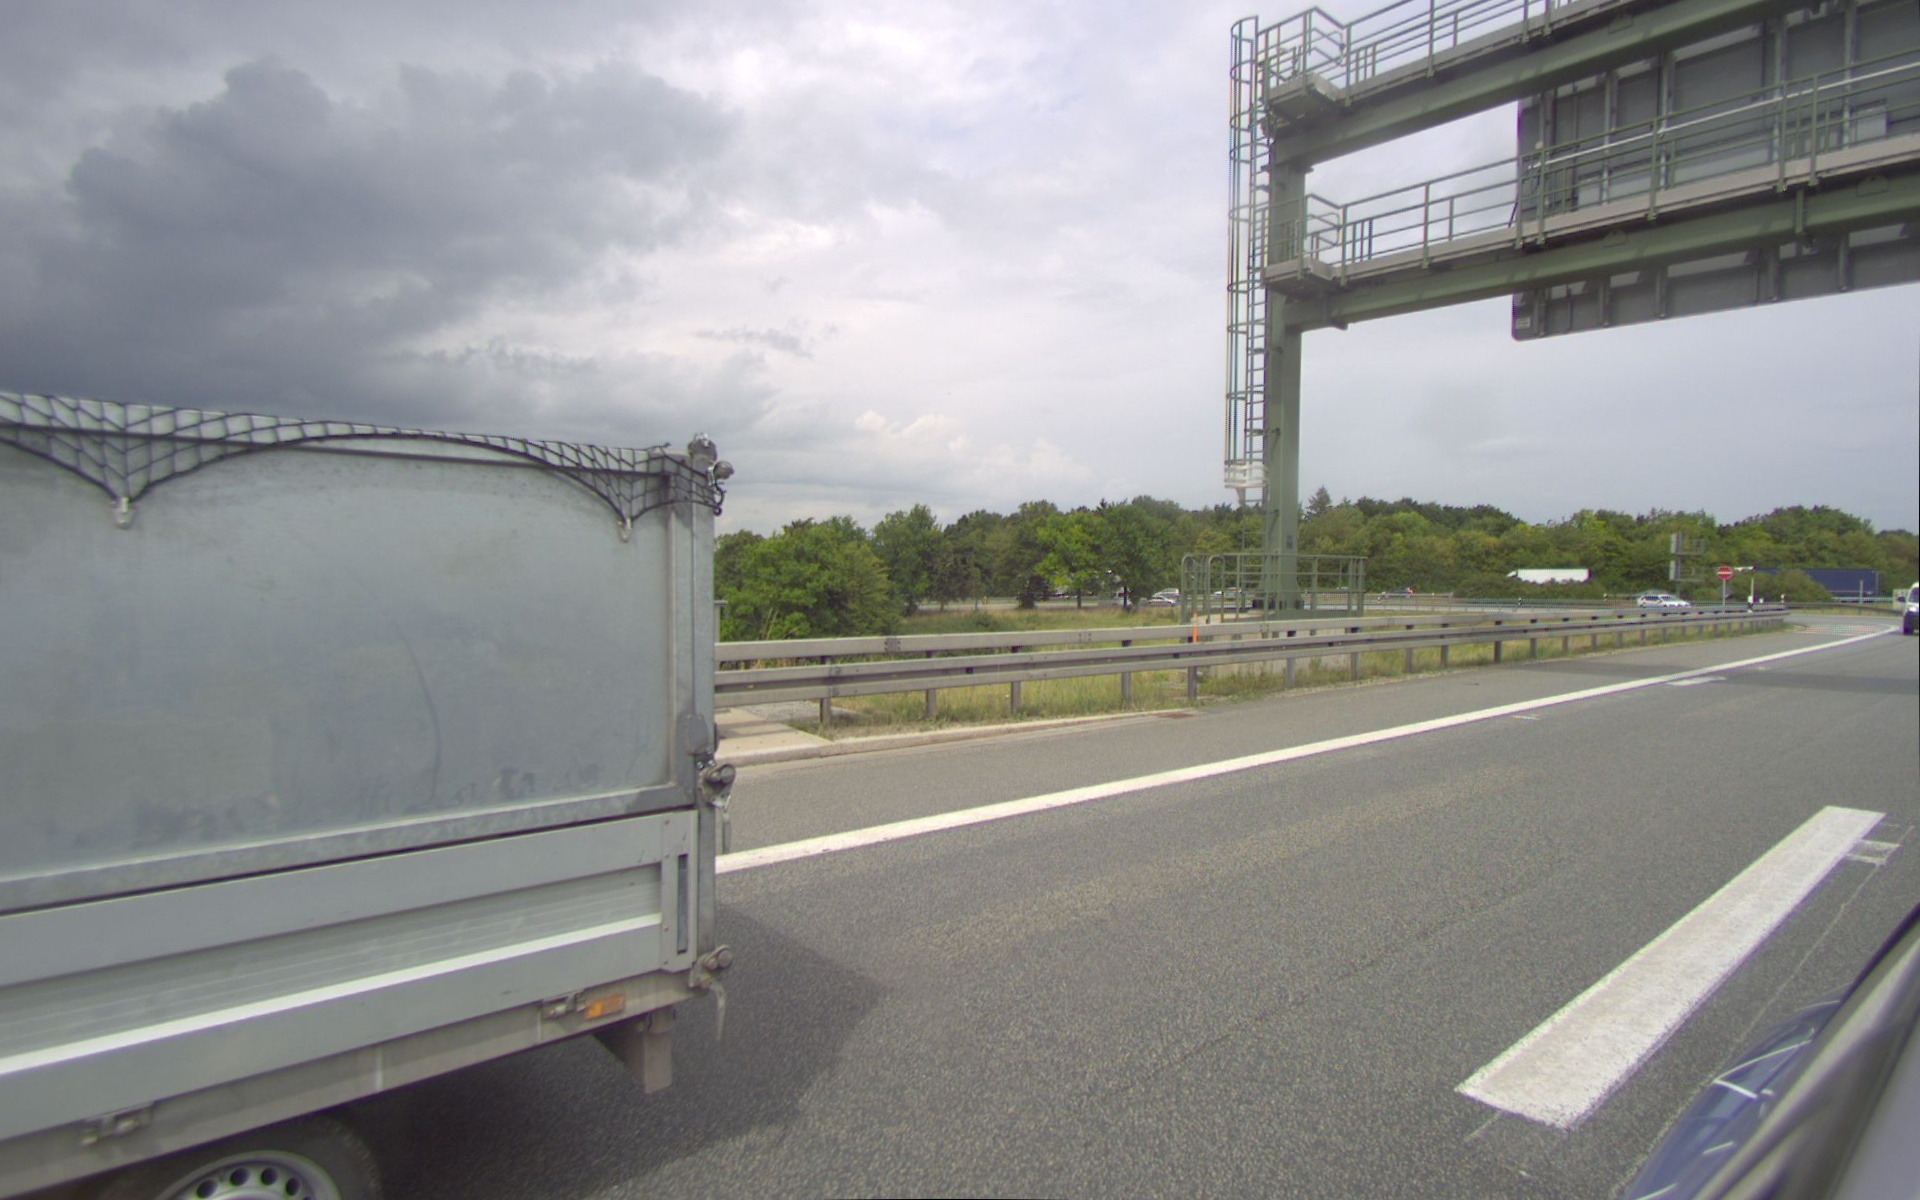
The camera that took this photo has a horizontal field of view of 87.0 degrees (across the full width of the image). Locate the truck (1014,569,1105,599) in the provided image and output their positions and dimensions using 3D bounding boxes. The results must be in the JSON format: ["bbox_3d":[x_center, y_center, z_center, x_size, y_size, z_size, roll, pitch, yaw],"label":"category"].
[{"bbox_3d":[14.334,-2.282,146.363,12.840,4.296,2.680,0,0,18],"label":"truck"}]

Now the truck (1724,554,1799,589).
[{"bbox_3d":[89.695,-3.124,113.366,5.824,3.850,2.897,0,0,6],"label":"truck"}]

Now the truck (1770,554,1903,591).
[{"bbox_3d":[97.339,-3.034,112.524,11.586,3.907,2.843,-1,0,6],"label":"truck"}]

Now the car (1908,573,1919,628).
[{"bbox_3d":[32.756,-0.032,33.349,3.931,1.767,1.860,-1,1,-42],"label":"car"}]

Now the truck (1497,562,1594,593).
[{"bbox_3d":[69.792,-2.666,120.914,9.775,3.446,2.671,0,0,26],"label":"truck"}]

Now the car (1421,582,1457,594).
[{"bbox_3d":[59.715,-1.496,126.265,3.964,1.418,1.543,0,0,29],"label":"car"}]

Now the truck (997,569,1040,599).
[{"bbox_3d":[8.585,-2.271,148.160,5.718,4.232,2.679,-1,0,18],"label":"truck"}]

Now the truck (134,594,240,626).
[{"bbox_3d":[-86.572,1.036,113.577,8.836,3.410,3.348,-1,0,-19],"label":"truck"}]

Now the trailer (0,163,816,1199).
[{"bbox_3d":[-2.659,0.386,1.620,4.552,2.039,1.857,-1,0,-42],"label":"trailer"}]

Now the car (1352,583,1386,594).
[{"bbox_3d":[52.858,-1.495,130.701,3.959,1.468,1.545,0,0,26],"label":"car"}]

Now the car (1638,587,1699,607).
[{"bbox_3d":[55.696,-0.246,79.624,1.694,1.560,4.482,-1,1,1],"label":"car"}]

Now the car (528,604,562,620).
[{"bbox_3d":[-53.955,1.508,131.625,3.919,1.973,1.737,-1,0,-29],"label":"car"}]
